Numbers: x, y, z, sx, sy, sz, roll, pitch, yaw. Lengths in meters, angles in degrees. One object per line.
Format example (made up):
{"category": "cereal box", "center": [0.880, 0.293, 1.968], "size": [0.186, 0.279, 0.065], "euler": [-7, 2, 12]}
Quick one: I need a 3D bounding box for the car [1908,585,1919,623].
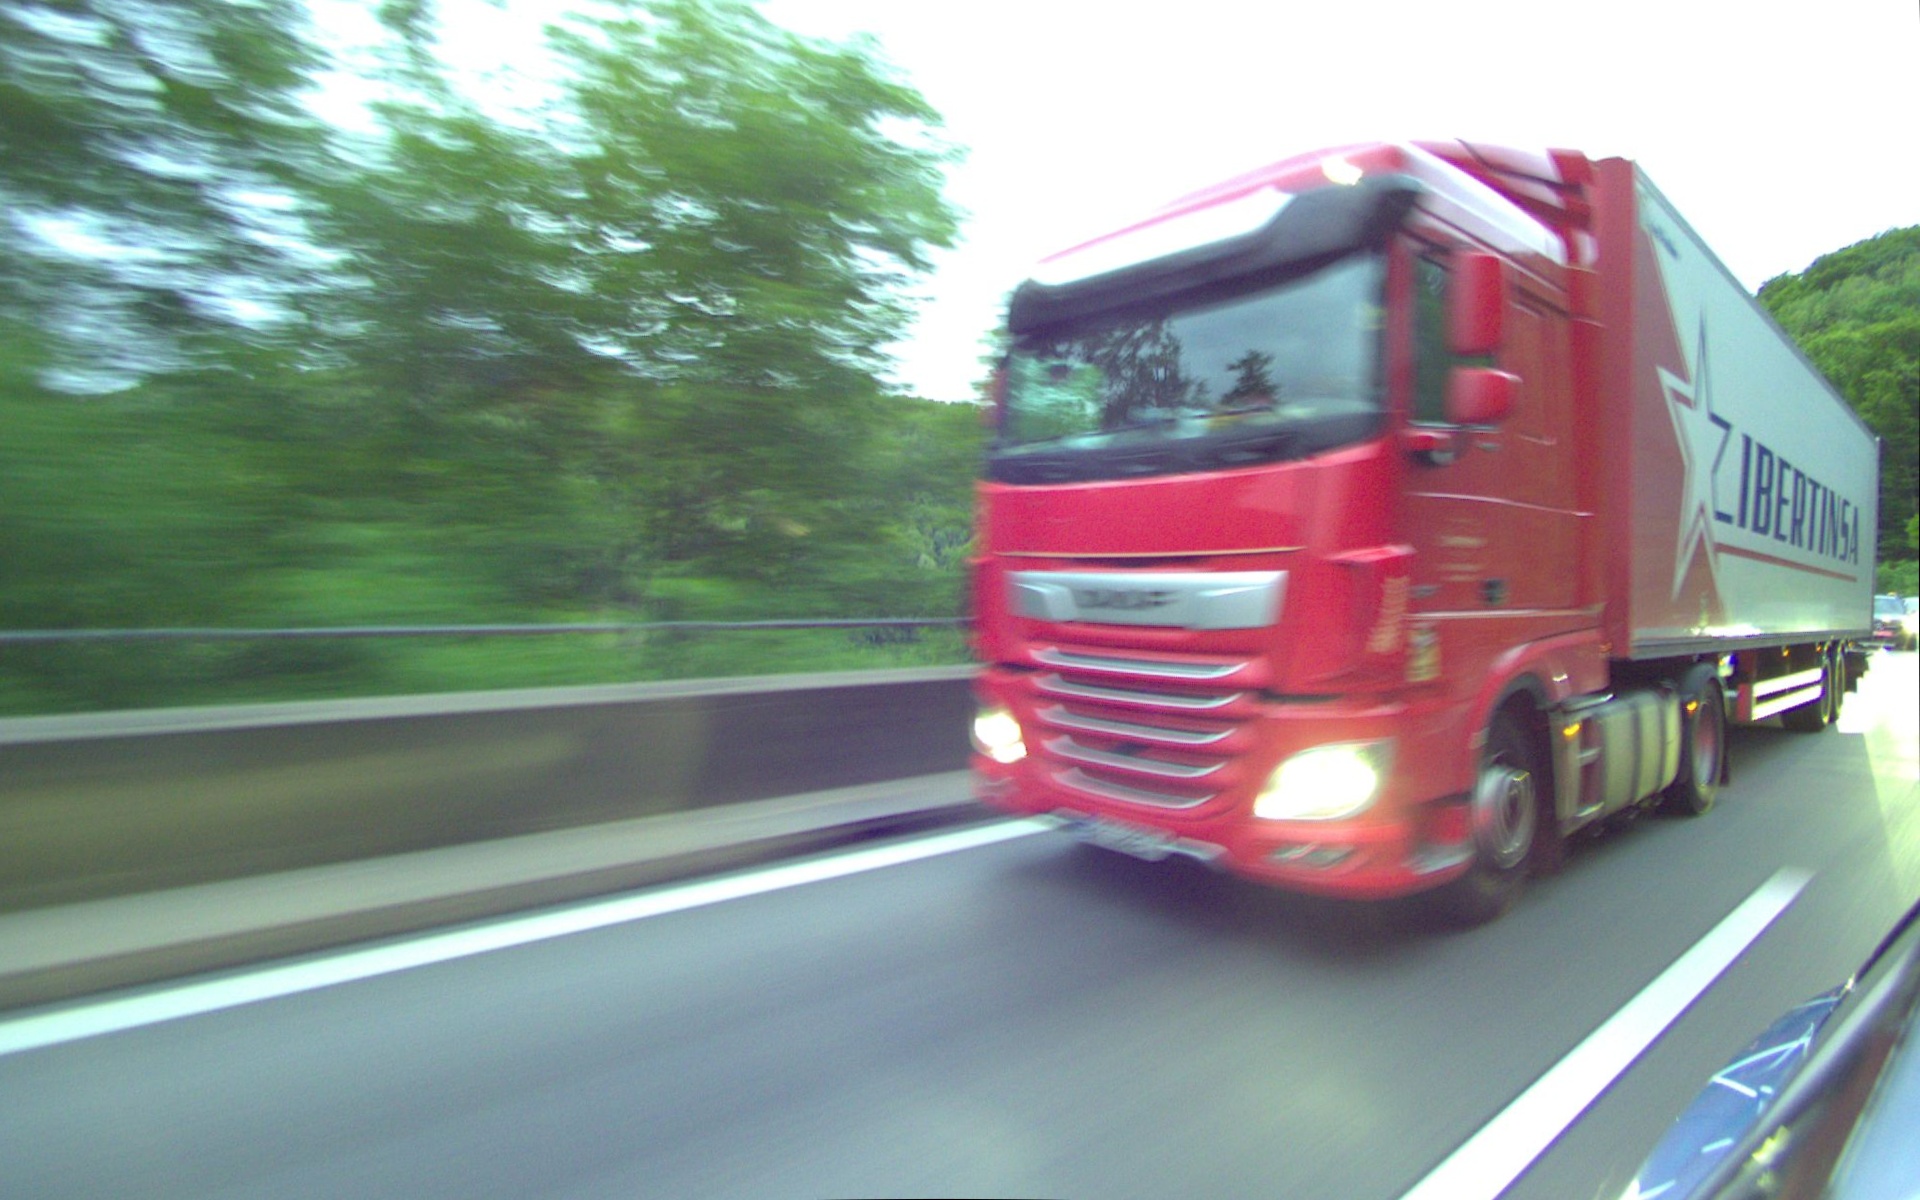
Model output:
{"category": "car", "center": [40.433, 0.256, 41.501], "size": [1.994, 1.525, 3.940], "euler": [9, 6, 41]}

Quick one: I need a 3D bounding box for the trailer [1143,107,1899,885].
{"category": "trailer", "center": [7.527, -0.618, 11.154], "size": [13.978, 4.019, 3.101], "euler": [-1, 1, -43]}

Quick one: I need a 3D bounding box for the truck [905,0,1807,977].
{"category": "truck", "center": [3.129, -0.784, 6.985], "size": [6.336, 4.194, 3.075], "euler": [1, 4, -42]}

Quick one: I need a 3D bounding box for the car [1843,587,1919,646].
{"category": "car", "center": [28.458, 0.454, 30.922], "size": [1.991, 1.660, 3.944], "euler": [3, 2, 39]}
